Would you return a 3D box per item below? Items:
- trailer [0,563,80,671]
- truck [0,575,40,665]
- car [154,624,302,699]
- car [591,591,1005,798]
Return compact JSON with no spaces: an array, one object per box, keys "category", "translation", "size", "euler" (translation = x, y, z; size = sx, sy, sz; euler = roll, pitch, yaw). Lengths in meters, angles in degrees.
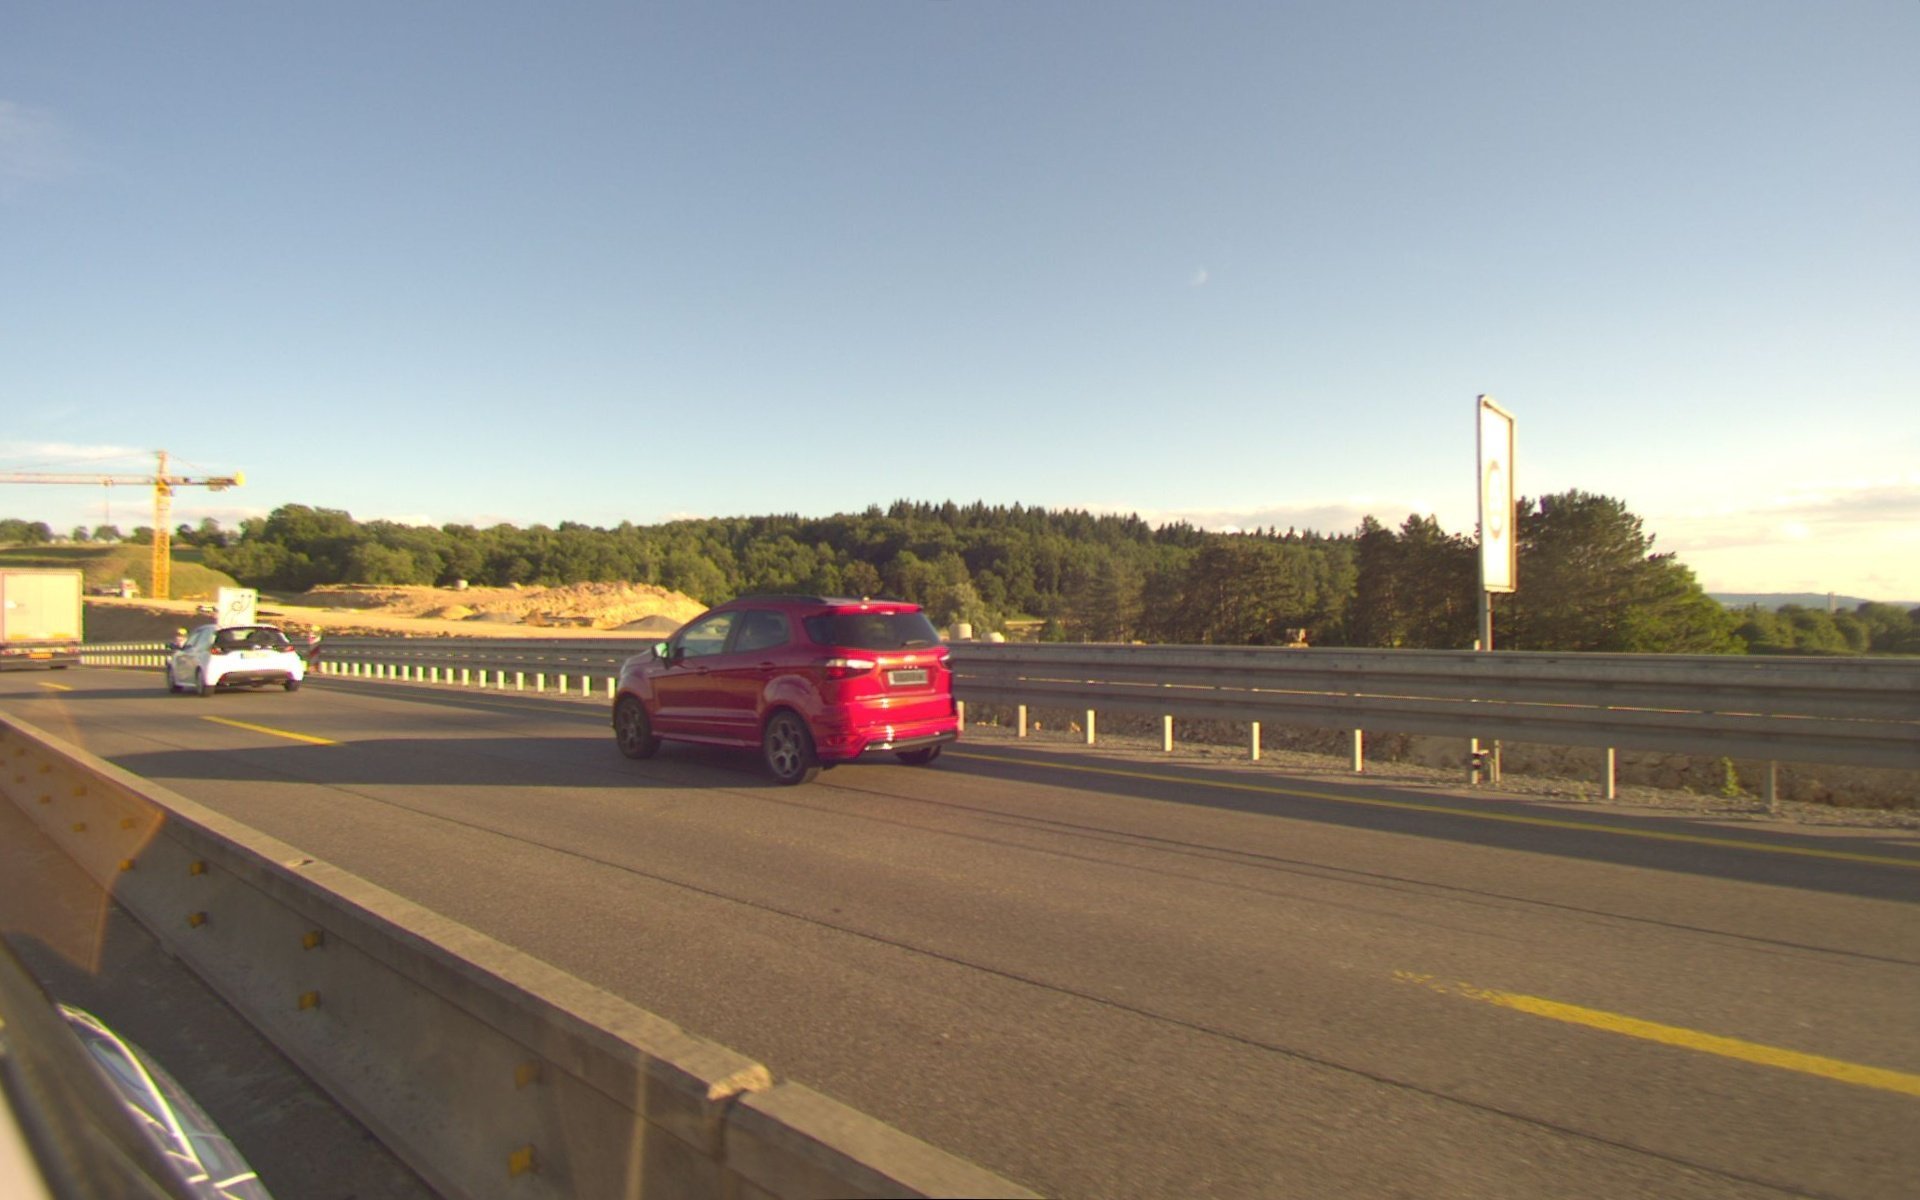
[{"category":"trailer","translation":[-41.090,0.821,43.727],"size":[14.014,4.081,2.785],"euler":[-2,-2,41]},{"category":"truck","translation":[-45.915,0.971,47.987],"size":[5.669,4.079,2.785],"euler":[-2,-2,41]},{"category":"car","translation":[-15.764,1.276,21.737],"size":[3.997,1.457,1.683],"euler":[-2,-2,40]},{"category":"car","translation":[-1.686,0.784,9.711],"size":[3.997,1.583,1.761],"euler":[-2,-2,40]}]
